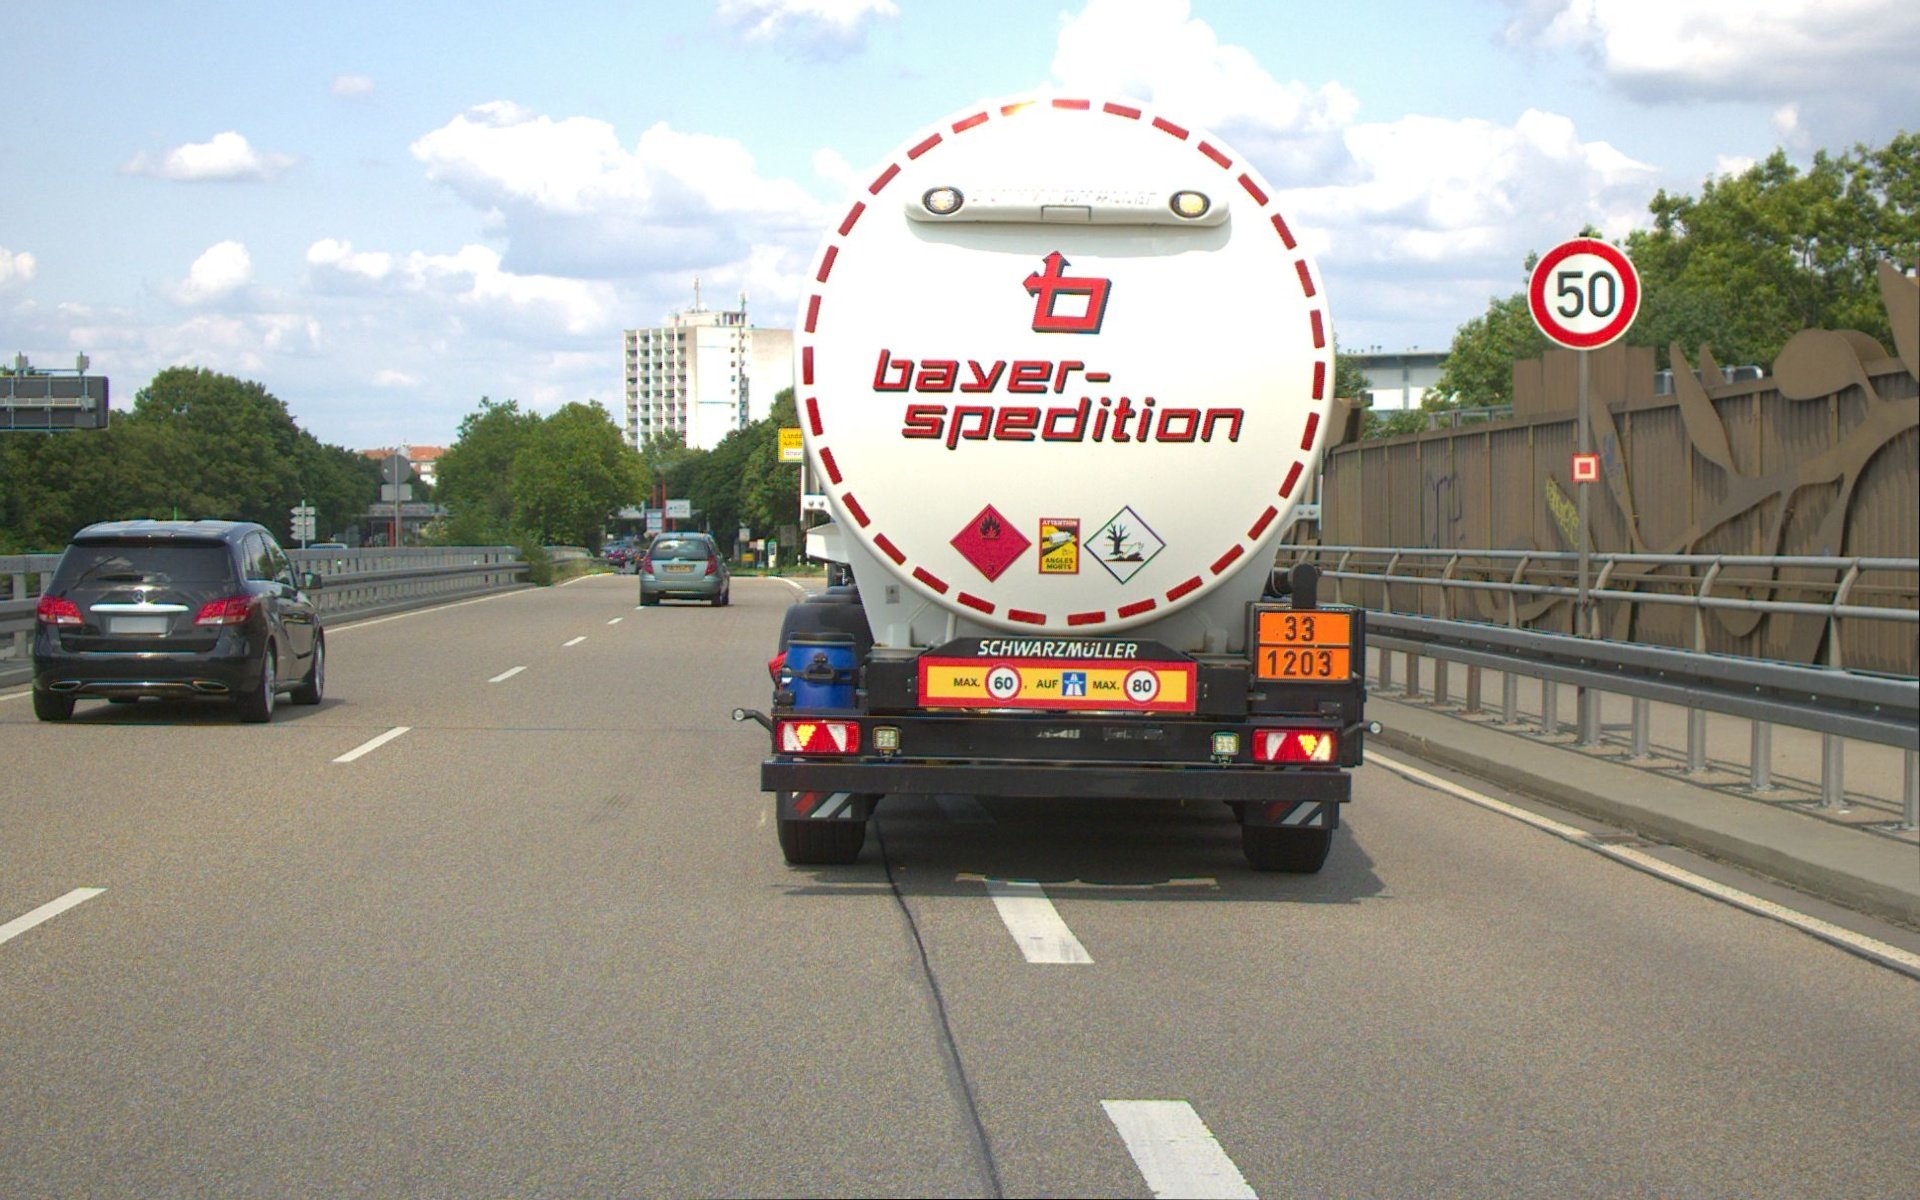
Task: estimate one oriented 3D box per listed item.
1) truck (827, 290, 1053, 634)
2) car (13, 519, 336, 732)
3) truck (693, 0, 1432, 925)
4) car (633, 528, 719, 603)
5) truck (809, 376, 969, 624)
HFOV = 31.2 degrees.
[{"bbox_3d":[-0.431,-2.043,52.661,2.895,4.791,8.031,1,1,-4],"label":"truck"},{"bbox_3d":[-6.182,0.132,27.542,1.711,1.522,4.593,1,1,-3],"label":"car"},{"bbox_3d":[0.731,-0.990,17.904,2.896,4.353,8.028,2,1,5],"label":"truck"},{"bbox_3d":[-6.155,-0.767,74.827,1.747,1.526,4.001,0,2,-3],"label":"car"},{"bbox_3d":[-1.575,-2.061,71.581,2.895,4.791,8.031,1,1,-4],"label":"truck"}]
